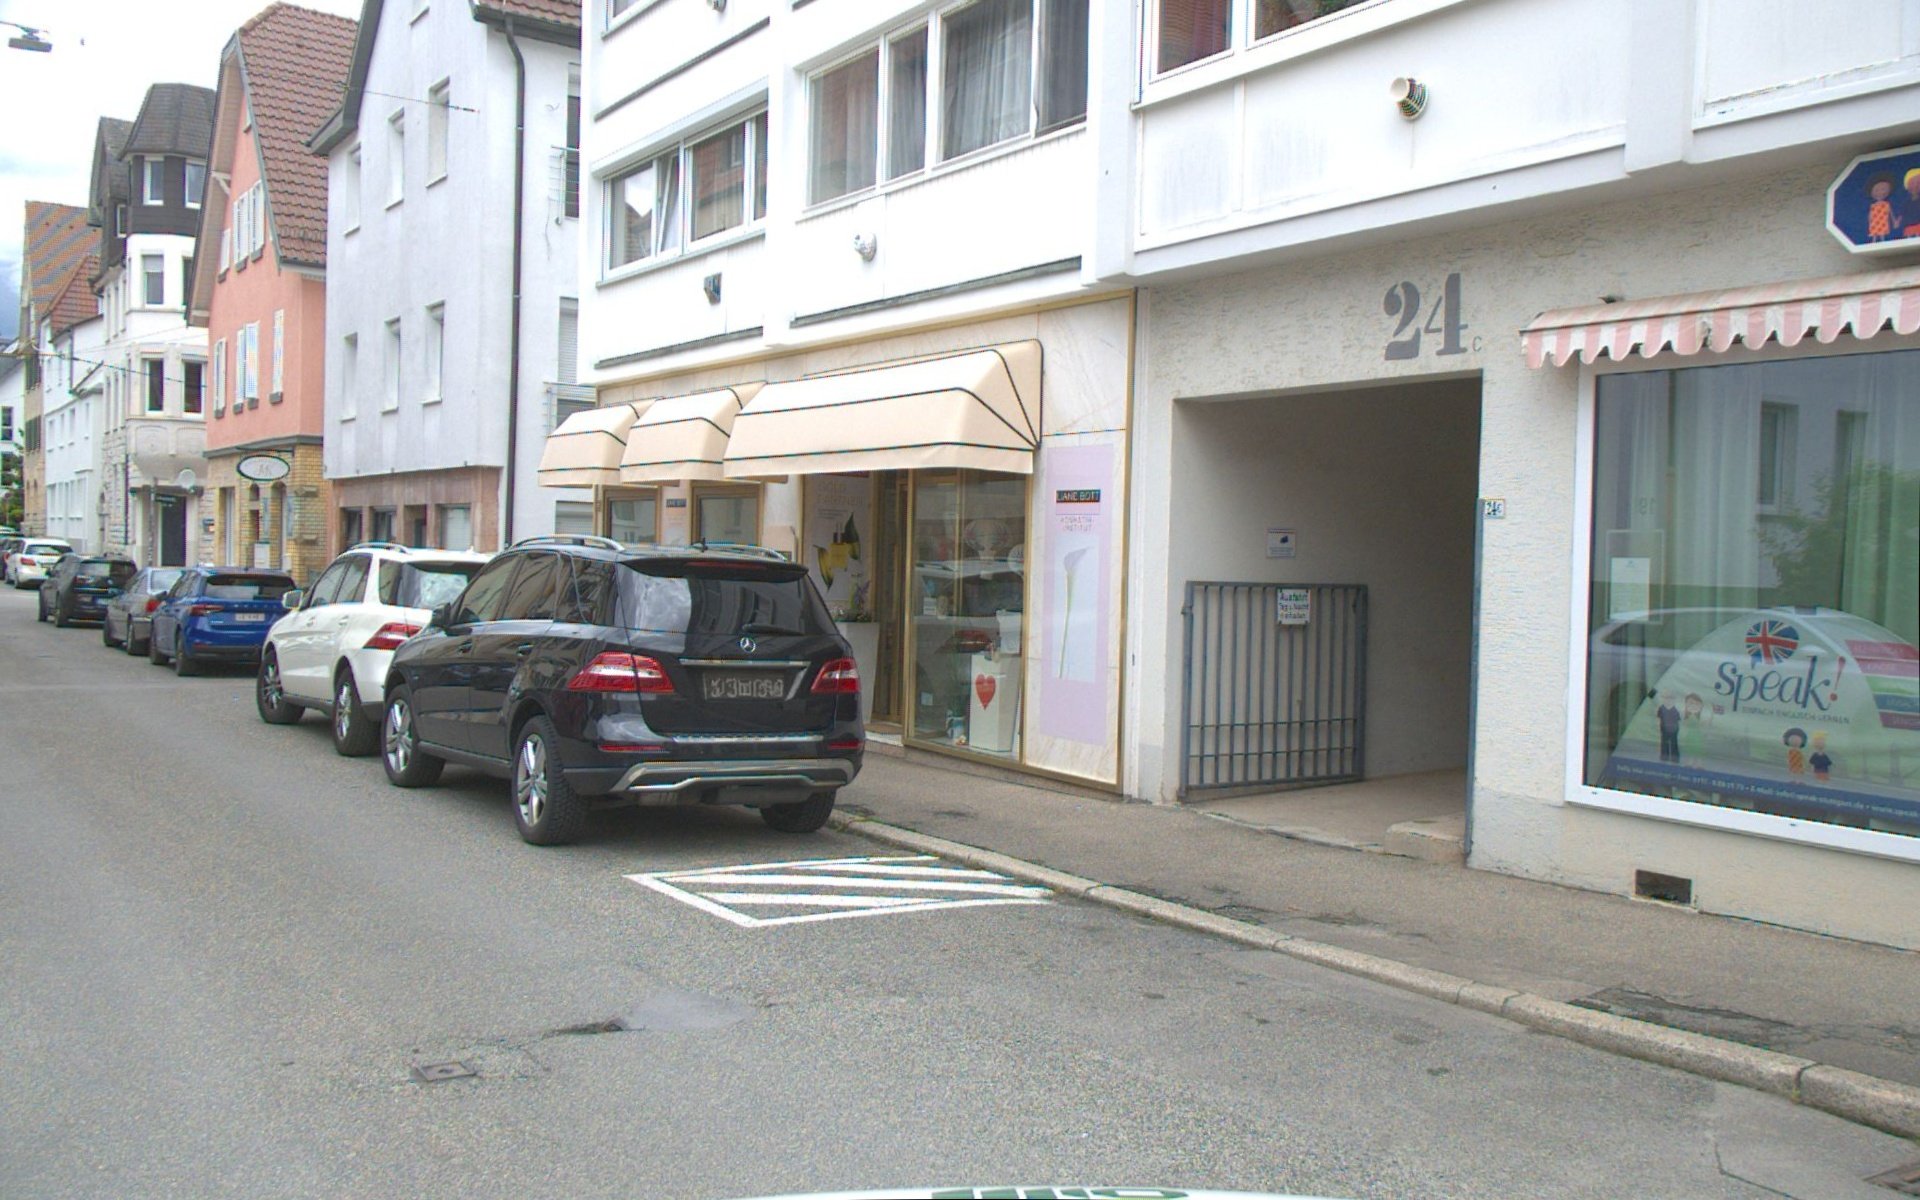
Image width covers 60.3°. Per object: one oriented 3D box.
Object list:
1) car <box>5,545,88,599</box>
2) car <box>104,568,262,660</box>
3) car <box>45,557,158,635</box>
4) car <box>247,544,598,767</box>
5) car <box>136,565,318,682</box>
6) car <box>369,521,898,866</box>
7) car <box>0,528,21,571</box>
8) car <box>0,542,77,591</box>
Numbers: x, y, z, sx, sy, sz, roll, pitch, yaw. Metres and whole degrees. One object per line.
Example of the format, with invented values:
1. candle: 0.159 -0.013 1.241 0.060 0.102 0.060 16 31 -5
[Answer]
1. car: -29.633 -0.925 53.603 1.754 1.552 3.850 1 2 -38
2. car: -13.084 0.199 27.740 1.734 1.415 3.982 1 0 -35
3. car: -19.059 -0.113 36.655 1.698 1.576 3.756 3 0 -35
4. car: -5.103 0.385 15.313 1.917 1.741 4.324 1 1 -35
5. car: -10.464 0.277 23.488 1.759 1.501 3.738 1 1 -34
6. car: -2.375 0.495 11.040 1.924 1.811 4.317 2 -1 -34
7. car: -38.522 -2.034 65.546 1.715 1.601 3.783 1 2 -38
8. car: -32.290 -1.180 57.728 1.941 1.602 3.946 1 1 -38
